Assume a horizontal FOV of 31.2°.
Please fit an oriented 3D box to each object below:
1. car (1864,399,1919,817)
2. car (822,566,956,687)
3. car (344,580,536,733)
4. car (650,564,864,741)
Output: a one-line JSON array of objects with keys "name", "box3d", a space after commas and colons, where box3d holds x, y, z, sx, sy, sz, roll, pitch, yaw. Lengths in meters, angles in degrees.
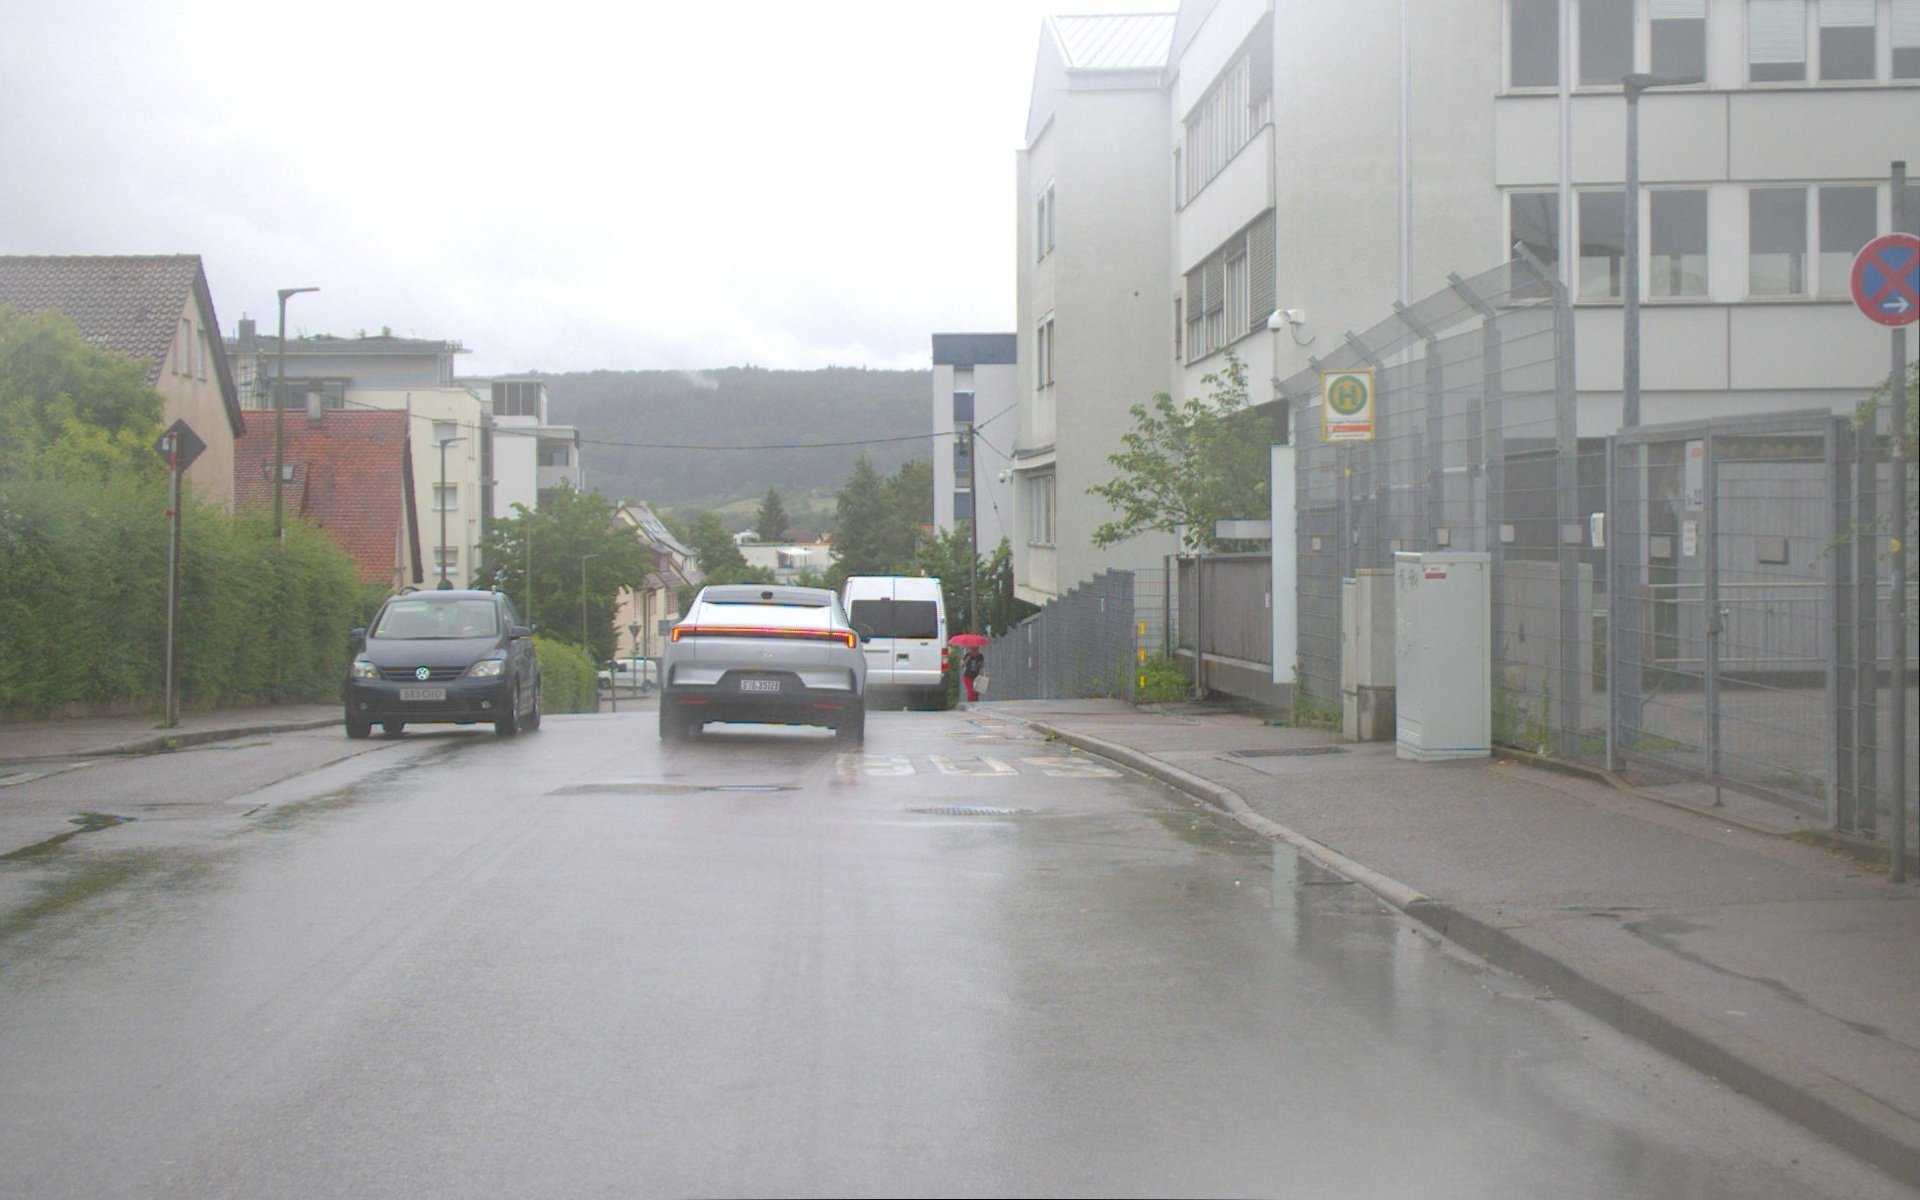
[{"name": "car", "box3d": [7.465, 0.088, 19.931, 1.993, 2.675, 5.954, -2, 2, -9]}, {"name": "car", "box3d": [-1.277, 0.496, 60.075, 1.993, 2.007, 4.000, -1, -1, -6]}, {"name": "car", "box3d": [-5.507, 0.558, 36.807, 1.675, 1.522, 4.001, 0, 1, -3]}, {"name": "car", "box3d": [-1.971, 0.464, 34.466, 1.993, 1.497, 4.671, 0, 2, -2]}]
